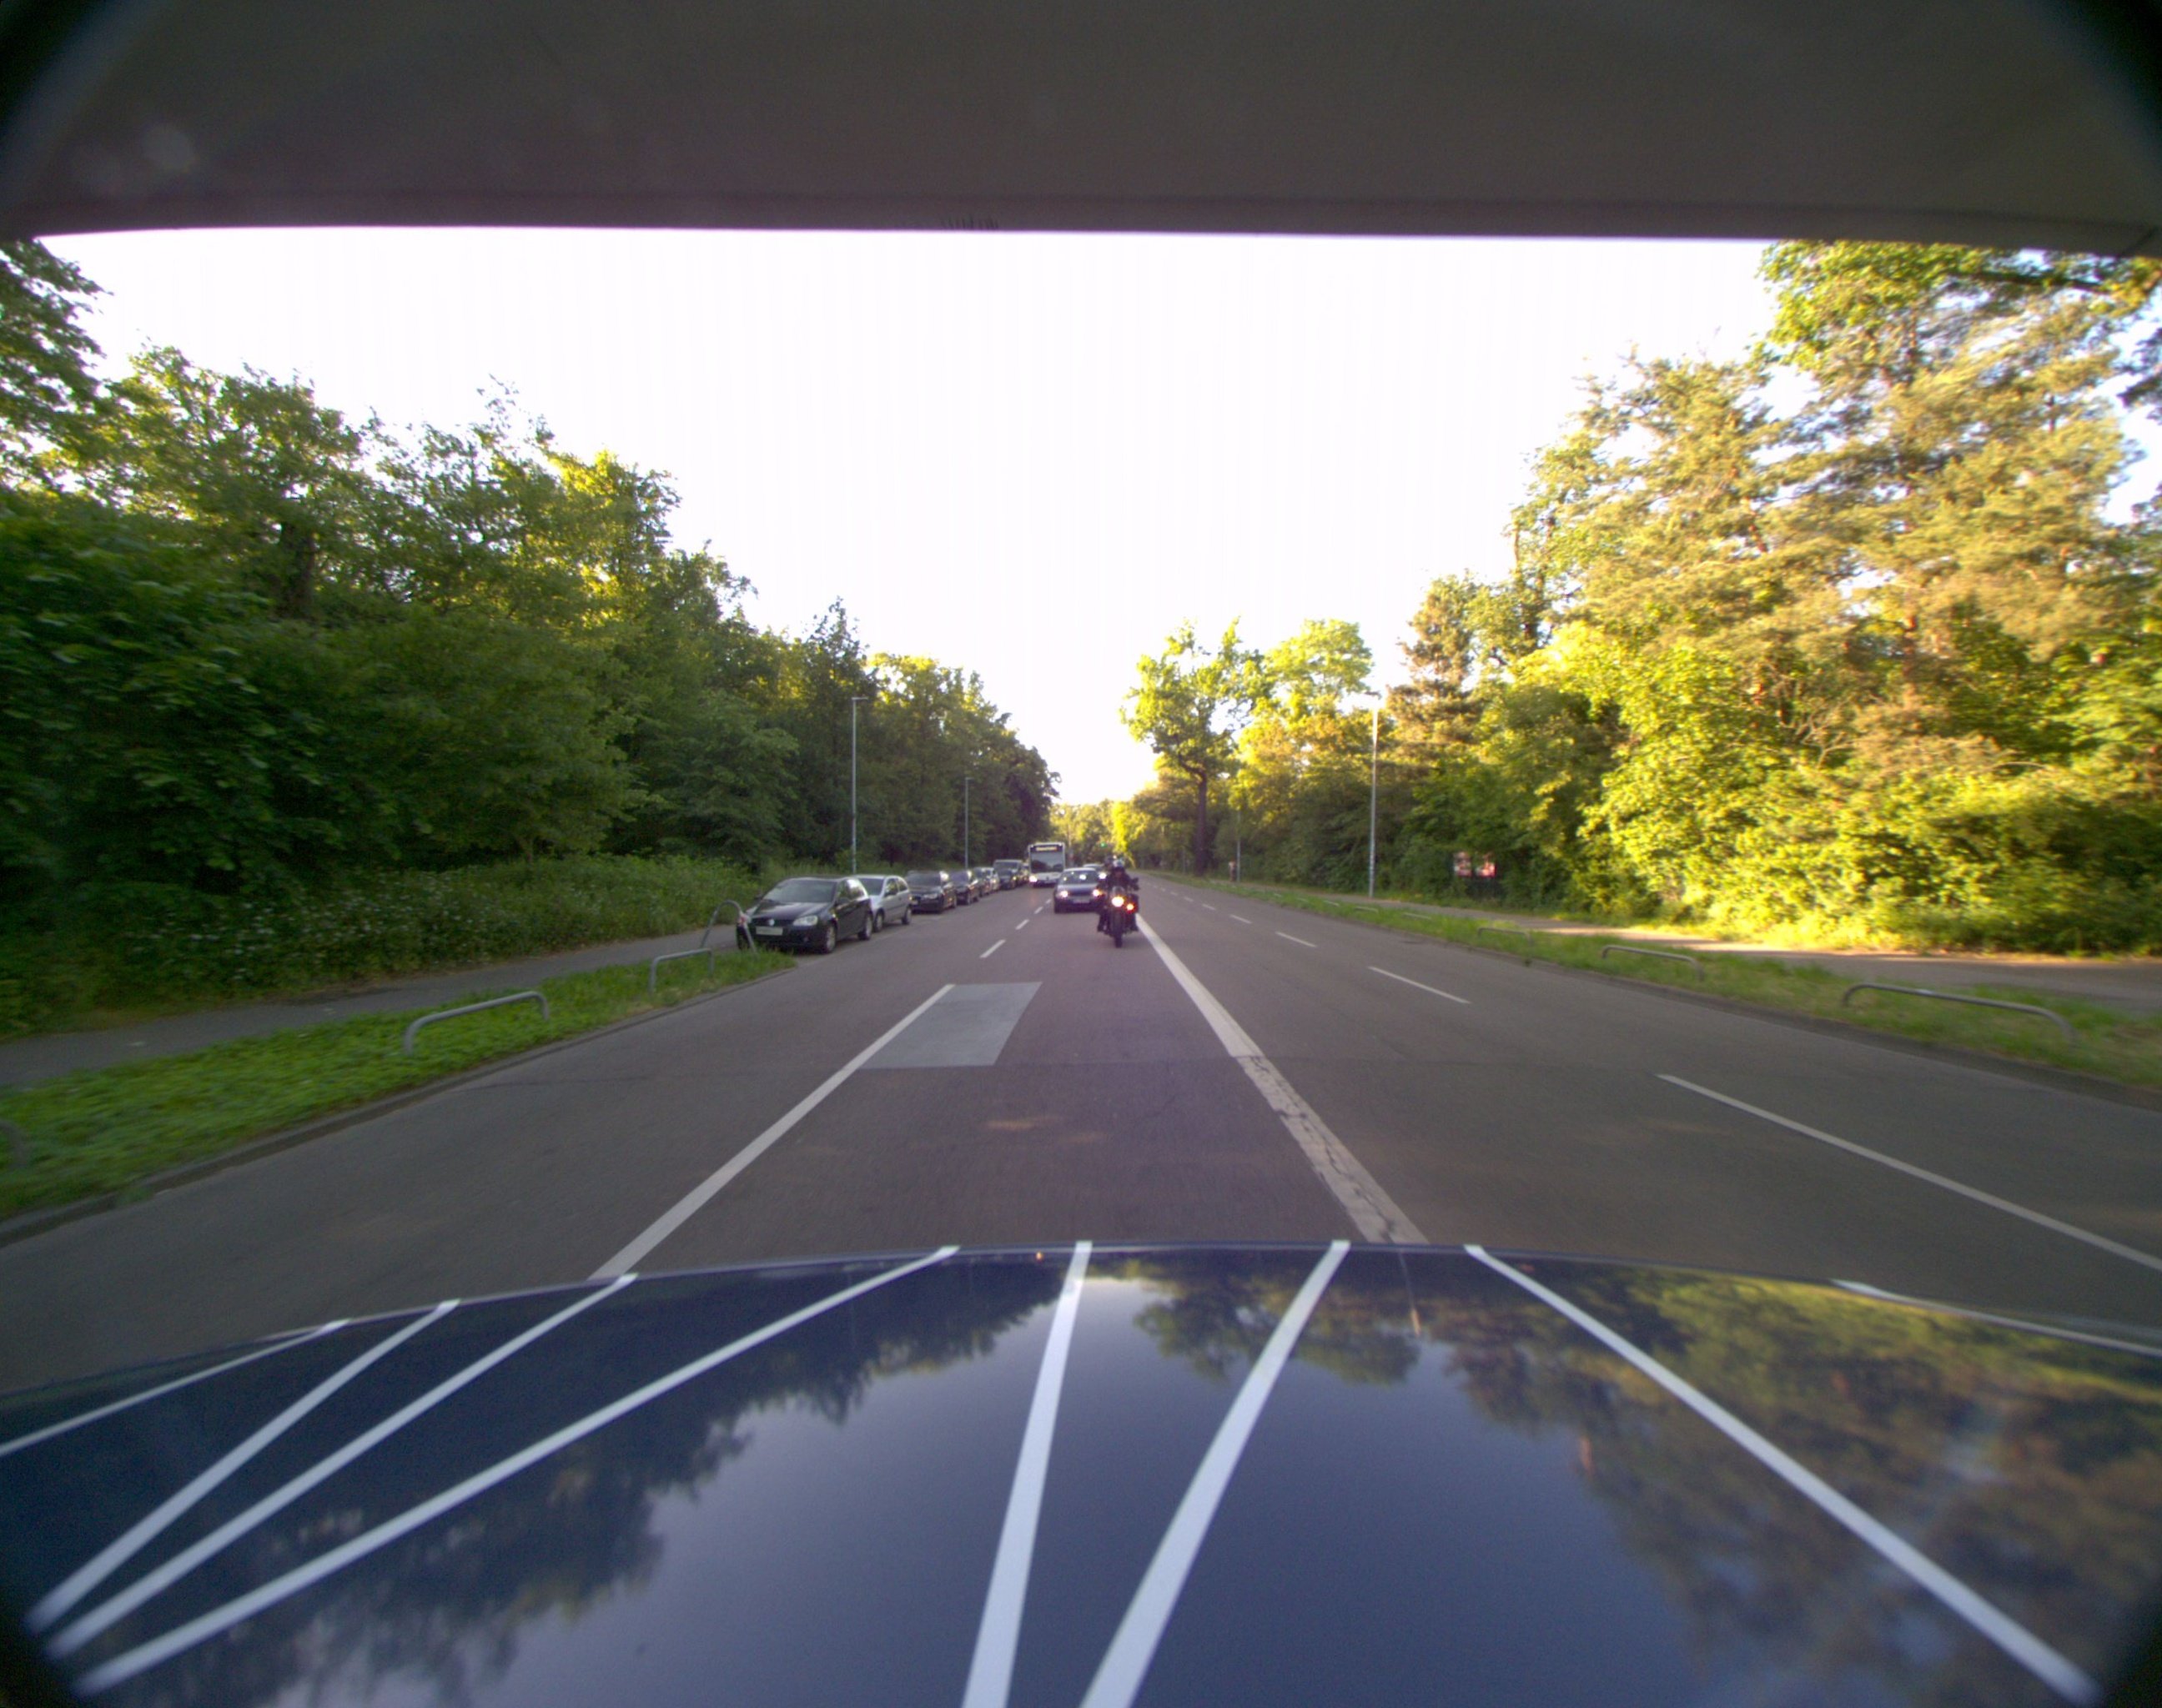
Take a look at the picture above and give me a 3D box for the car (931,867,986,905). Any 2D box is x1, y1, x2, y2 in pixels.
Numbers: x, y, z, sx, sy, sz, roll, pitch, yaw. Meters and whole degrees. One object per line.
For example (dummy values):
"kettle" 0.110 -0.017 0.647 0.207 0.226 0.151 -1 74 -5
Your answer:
"car" -5.277 1.343 33.189 1.641 1.445 4.897 0 0 -1

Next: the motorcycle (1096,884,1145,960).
"motorcycle" 0.714 1.243 14.626 0.830 1.211 2.604 -1 0 1

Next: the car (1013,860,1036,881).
"car" -5.075 1.443 68.509 1.763 1.793 4.737 0 0 -1

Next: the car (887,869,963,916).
"car" -5.582 1.338 27.849 1.779 1.445 5.037 0 0 -1

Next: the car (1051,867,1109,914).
"car" 0.044 1.166 25.519 1.678 1.351 3.995 -2 0 4

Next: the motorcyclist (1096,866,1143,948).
"motorcyclist" 0.721 0.997 14.624 0.830 1.484 1.024 -1 0 1

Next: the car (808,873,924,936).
"car" -5.726 1.297 20.735 1.778 1.445 4.015 0 0 4

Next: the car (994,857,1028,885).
"car" -5.110 1.216 55.953 1.873 1.969 5.475 0 0 1

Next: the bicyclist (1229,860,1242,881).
"bicyclist" 11.546 1.250 56.881 0.714 1.550 1.142 -2 1 1

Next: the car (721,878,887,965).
"car" -5.582 1.294 15.948 1.778 1.445 4.388 0 0 2

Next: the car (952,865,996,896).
"car" -5.512 1.336 39.447 1.589 1.445 3.943 0 0 2

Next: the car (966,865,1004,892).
"car" -5.562 1.413 44.404 1.589 1.445 3.799 0 0 2

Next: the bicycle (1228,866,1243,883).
"bicycle" 11.551 1.516 56.883 0.714 1.140 1.993 -2 0 1

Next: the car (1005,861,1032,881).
"car" -5.089 1.376 62.235 1.763 1.538 4.429 0 0 1

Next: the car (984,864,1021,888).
"car" -5.040 1.411 49.469 1.873 1.398 4.369 0 0 1

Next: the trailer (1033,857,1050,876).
"trailer" -5.049 1.552 97.194 1.909 2.409 5.126 0 0 -1

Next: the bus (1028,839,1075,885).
"bus" -2.004 0.562 57.258 2.812 3.030 12.887 -2 0 1

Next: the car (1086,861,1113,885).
"car" 1.330 1.297 52.808 1.678 1.552 3.995 -2 0 4
